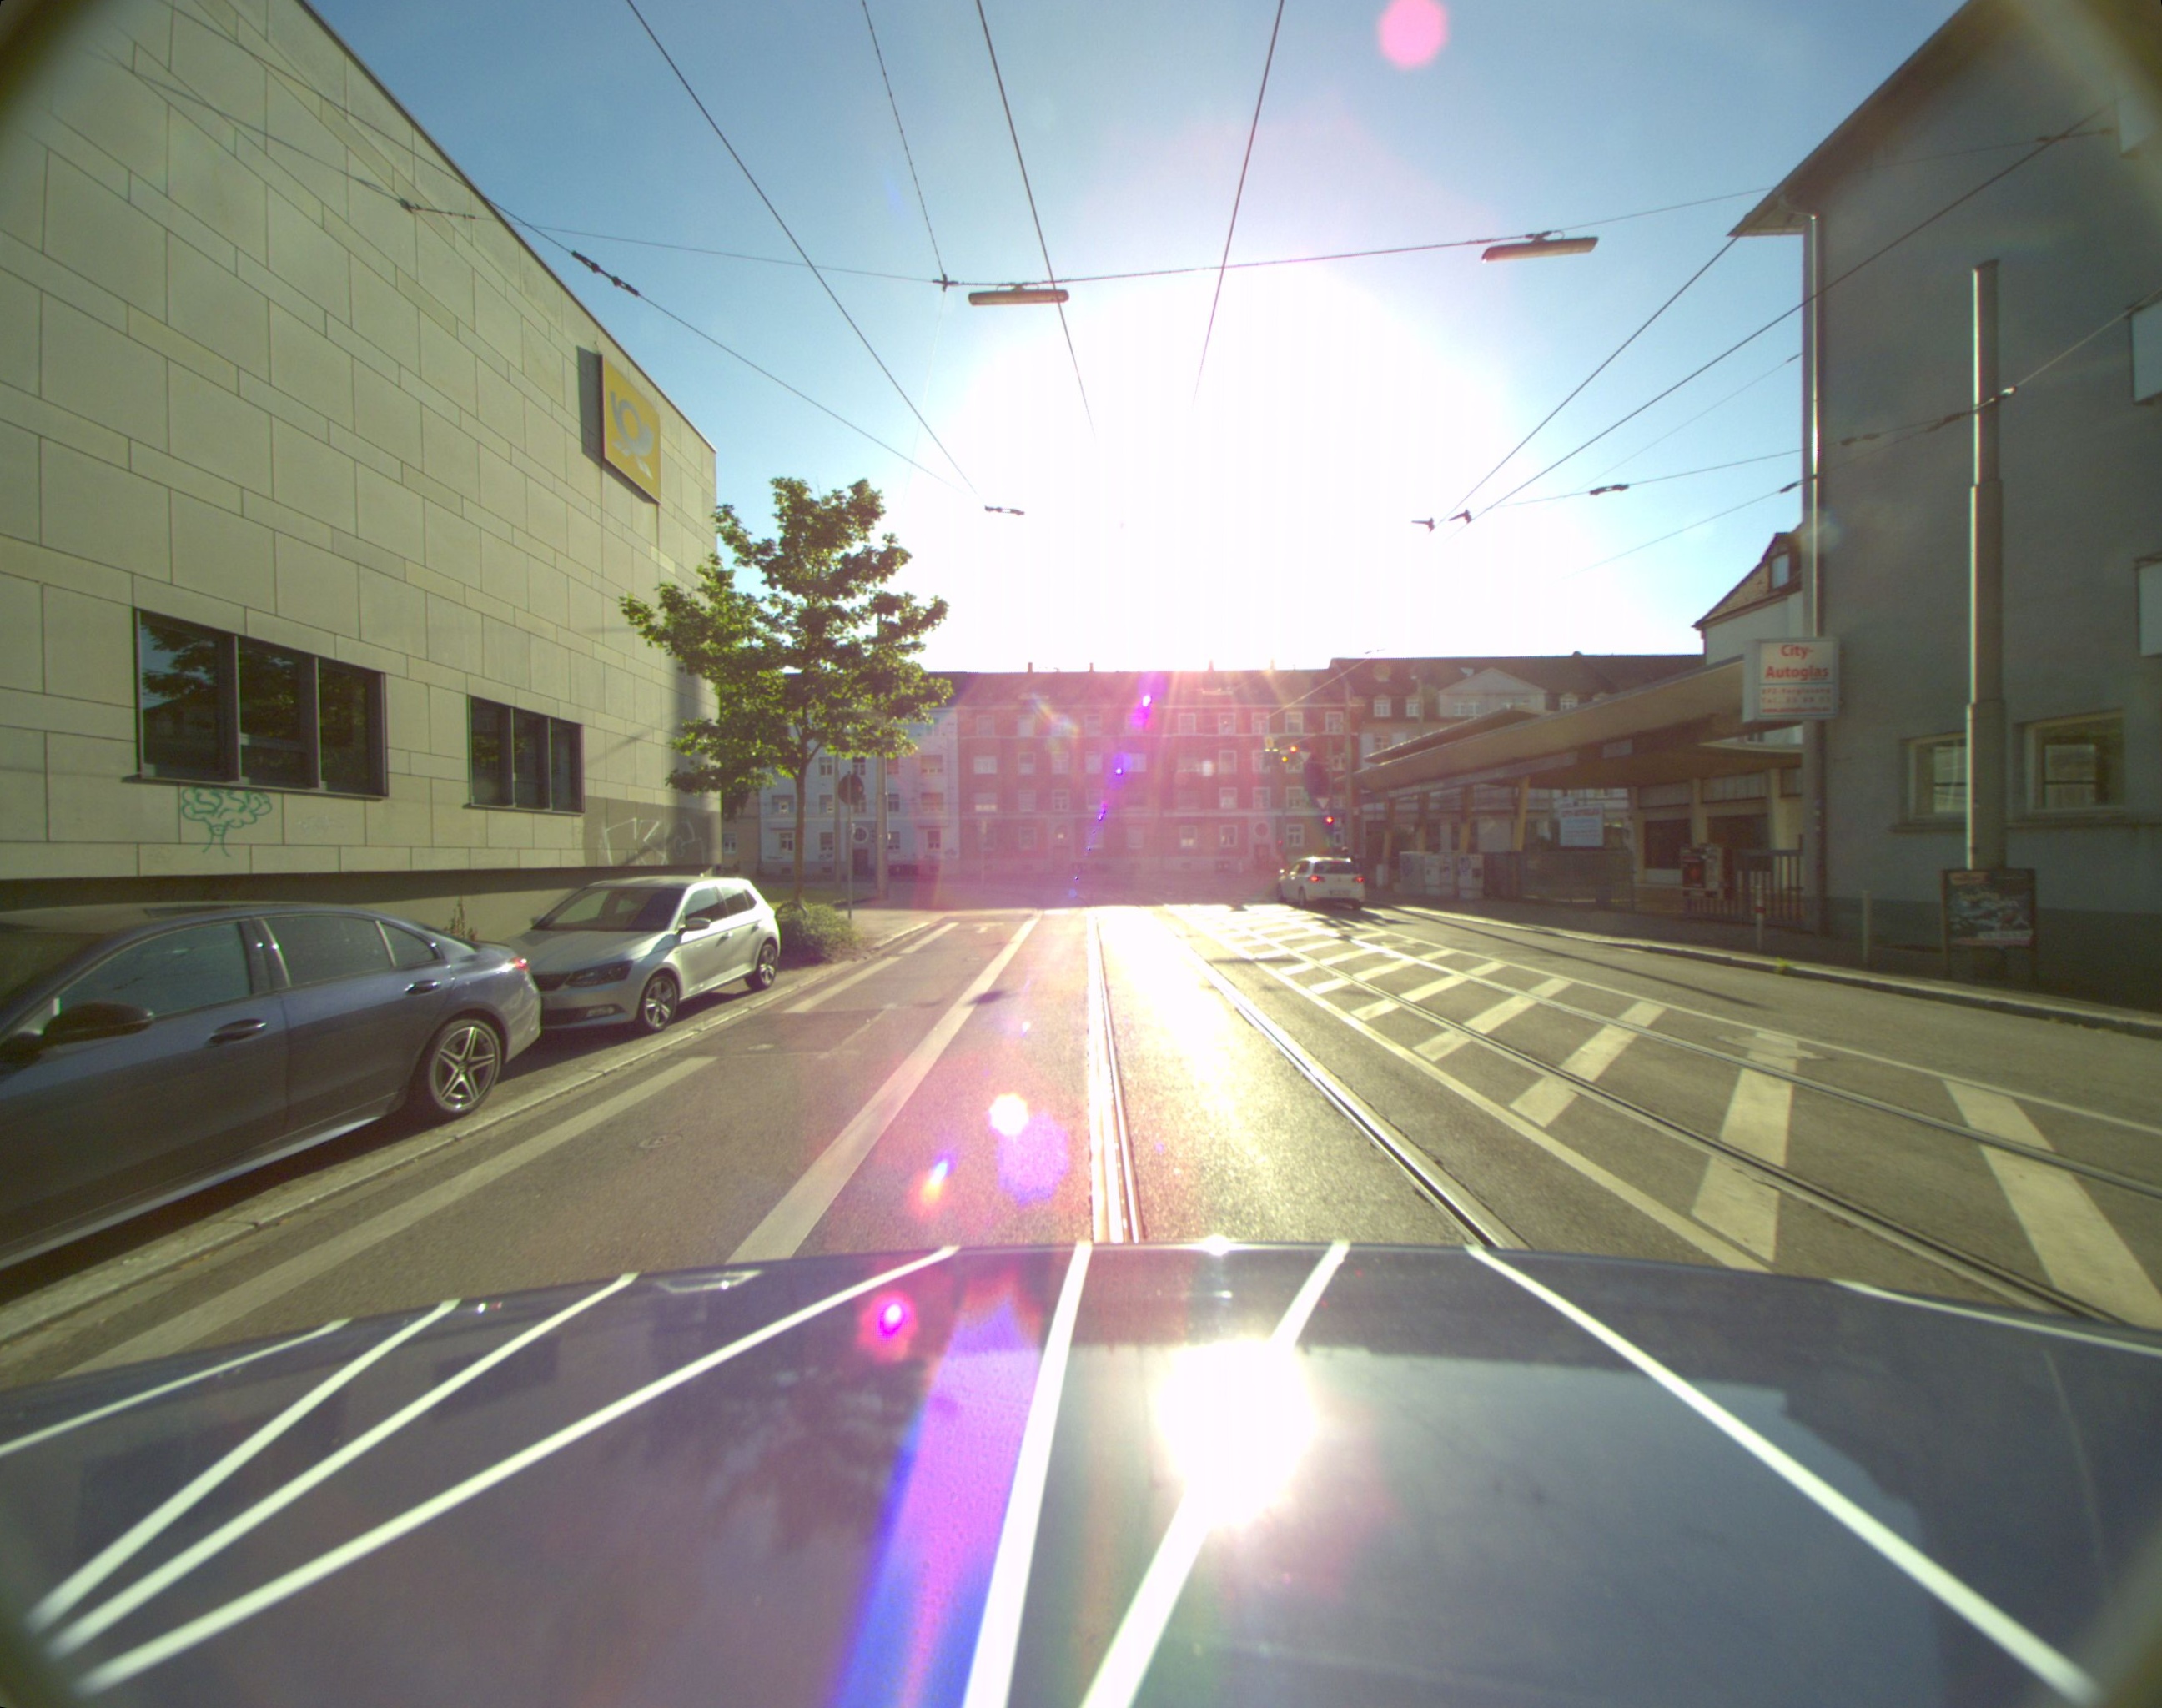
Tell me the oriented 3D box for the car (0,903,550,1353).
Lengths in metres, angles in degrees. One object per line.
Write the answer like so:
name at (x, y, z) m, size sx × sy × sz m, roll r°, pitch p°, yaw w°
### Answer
car at (-4.757, 1.093, 3.311) m, size 1.682 × 1.400 × 4.660 m, roll 0°, pitch 1°, yaw -1°

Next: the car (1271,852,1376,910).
car at (7.213, 0.748, 23.016) m, size 1.923 × 1.516 × 3.999 m, roll -2°, pitch 1°, yaw 1°

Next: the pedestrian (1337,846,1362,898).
pedestrian at (9.289, 0.618, 26.292) m, size 0.640 × 1.764 × 0.583 m, roll -2°, pitch 1°, yaw 1°

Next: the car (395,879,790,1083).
car at (-4.852, 1.131, 8.354) m, size 1.654 × 1.471 × 3.999 m, roll -2°, pitch 1°, yaw 1°

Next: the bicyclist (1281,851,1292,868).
bicyclist at (15.739, 0.413, 58.172) m, size 0.554 × 1.217 × 0.668 m, roll -2°, pitch 1°, yaw -8°

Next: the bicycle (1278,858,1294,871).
bicycle at (15.720, 0.800, 58.348) m, size 0.554 × 0.943 × 1.676 m, roll -2°, pitch 1°, yaw -8°
